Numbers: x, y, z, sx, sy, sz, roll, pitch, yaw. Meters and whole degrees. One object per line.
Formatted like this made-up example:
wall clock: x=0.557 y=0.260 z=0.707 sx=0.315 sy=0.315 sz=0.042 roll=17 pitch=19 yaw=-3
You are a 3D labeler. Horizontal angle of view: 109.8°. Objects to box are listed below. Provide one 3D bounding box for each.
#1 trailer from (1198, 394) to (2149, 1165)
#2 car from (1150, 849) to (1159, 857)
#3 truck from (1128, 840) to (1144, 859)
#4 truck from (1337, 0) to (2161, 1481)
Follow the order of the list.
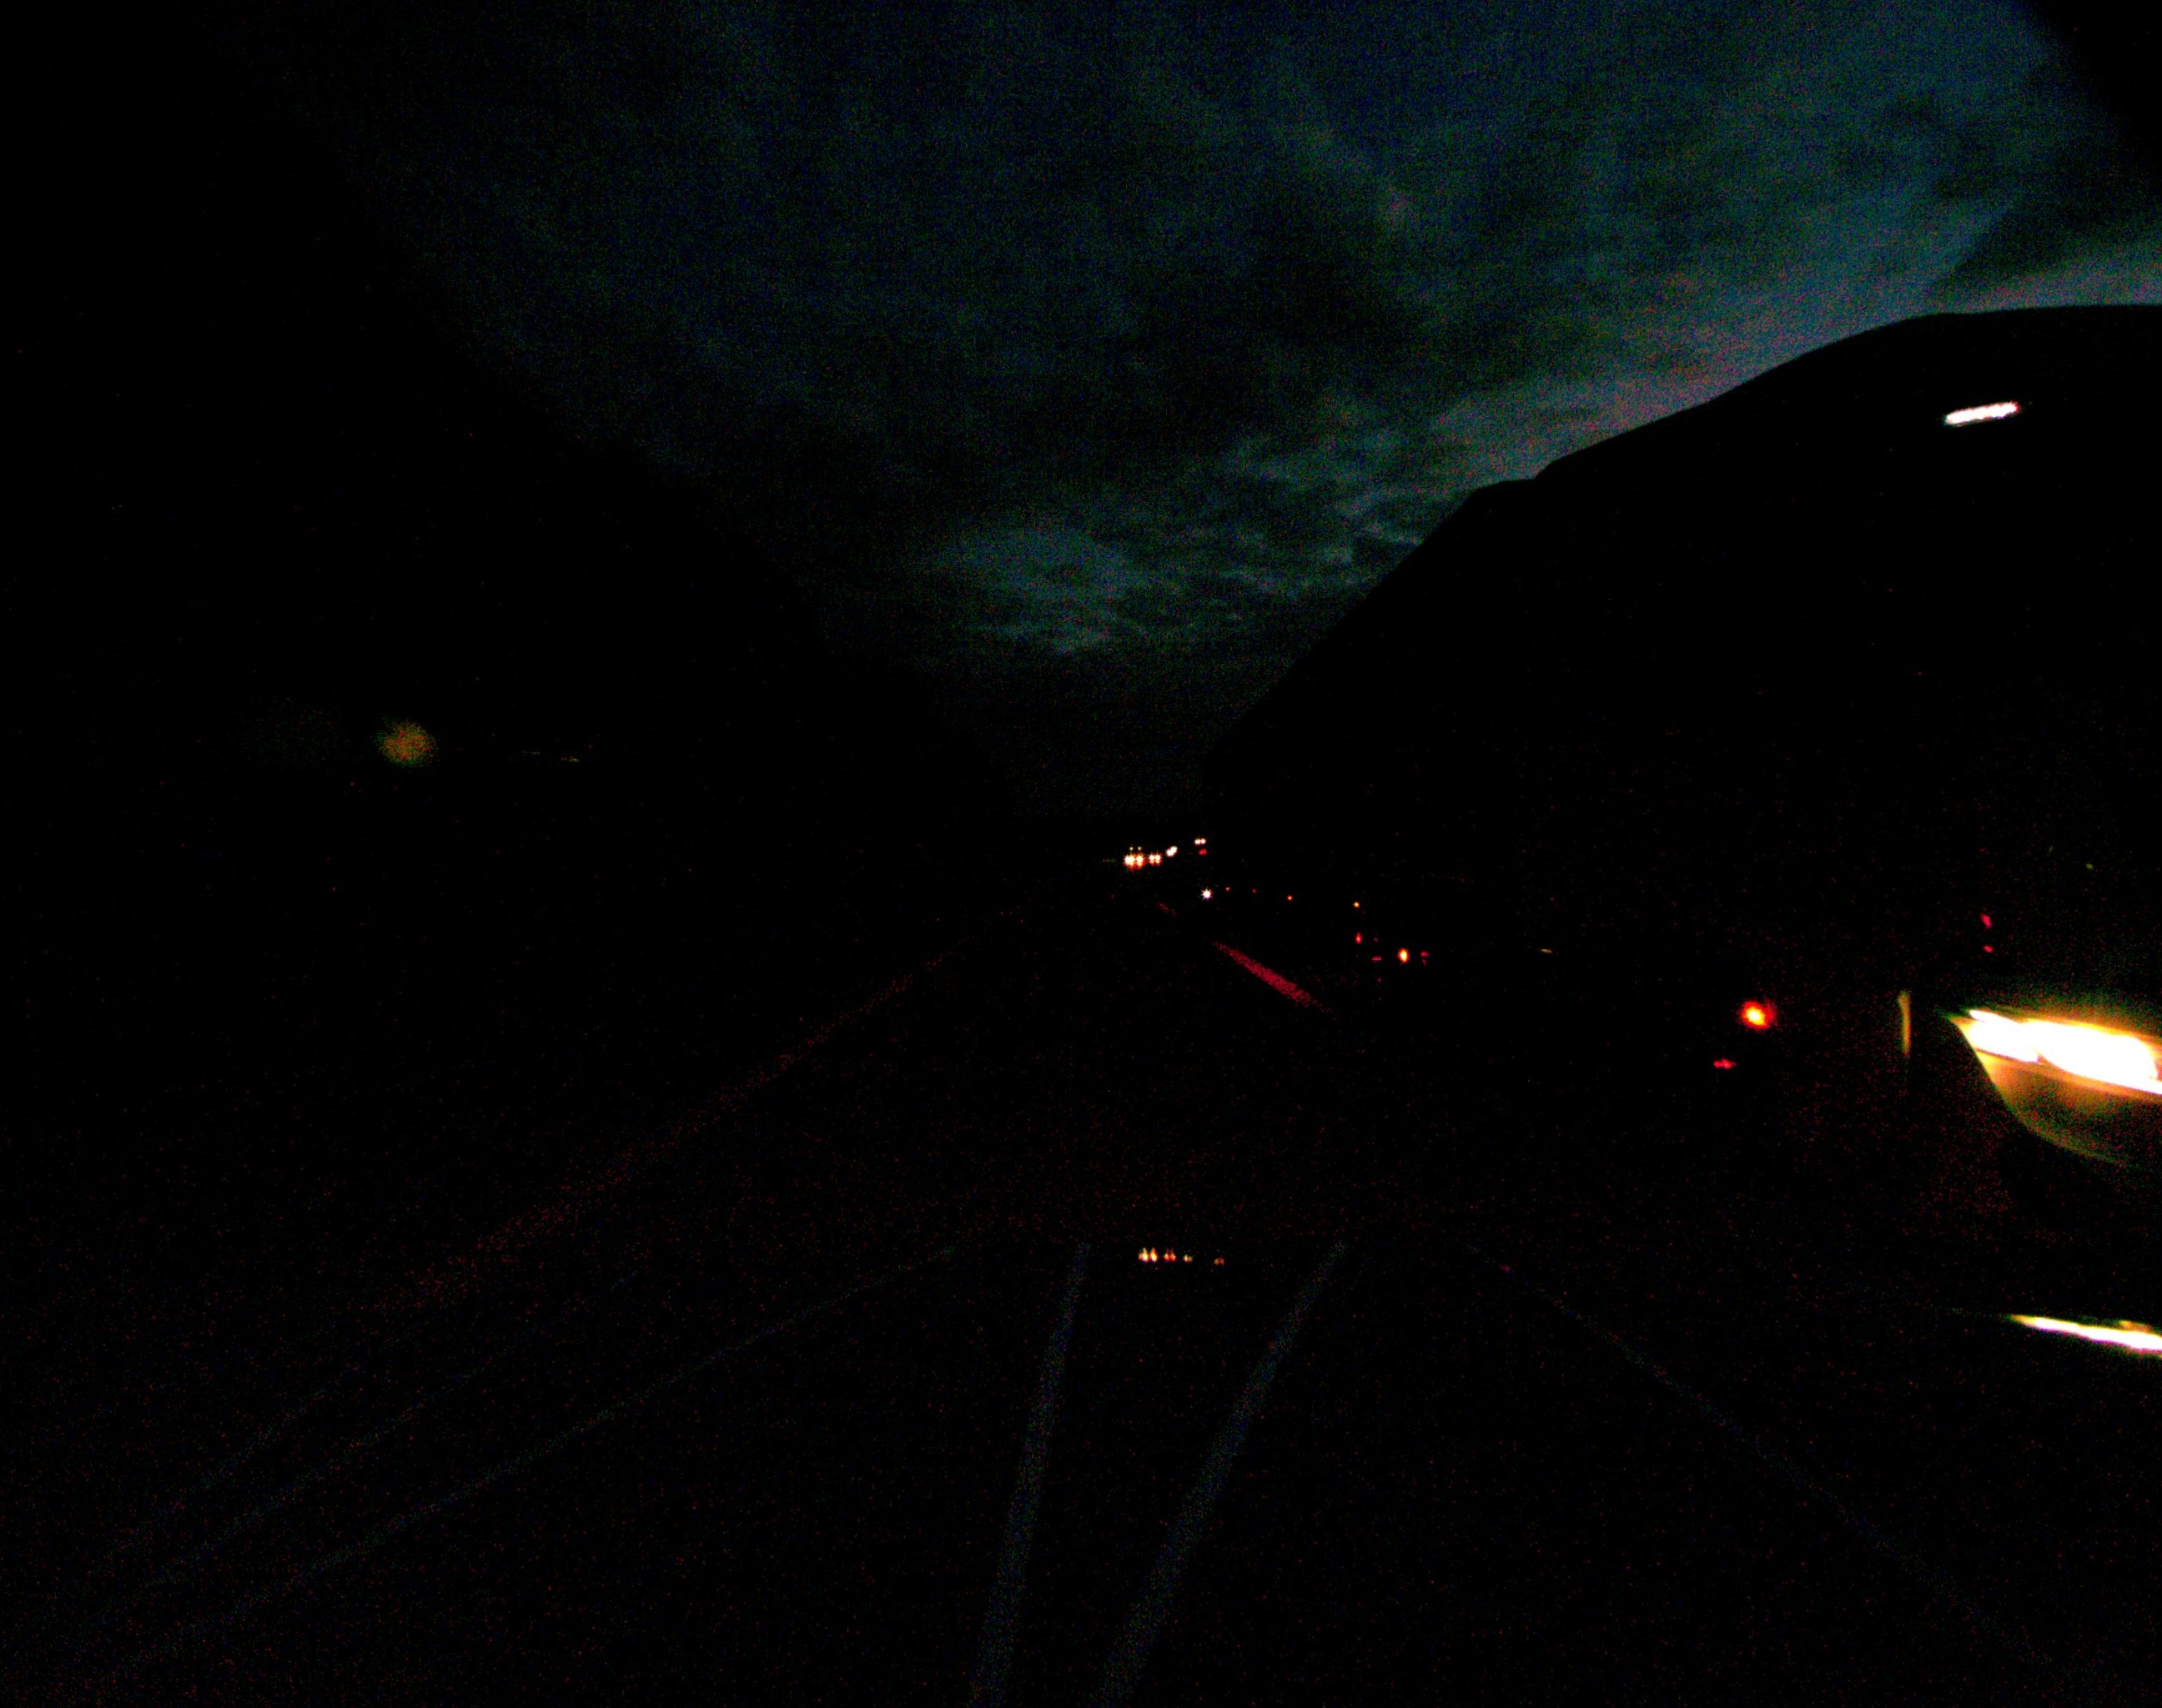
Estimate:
trailer: x=4.206 y=-0.380 z=11.330 sx=2.781 sy=3.892 sz=14.819 roll=-2 pitch=0 yaw=1
car: x=19.905 y=-0.365 z=206.087 sx=1.998 sy=2.002 sz=4.000 roll=-1 pitch=1 yaw=2
truck: x=13.115 y=-1.168 z=182.593 sx=3.352 sy=4.293 sz=11.326 roll=-1 pitch=0 yaw=3
truck: x=4.125 y=-0.379 z=4.990 sx=2.786 sy=3.879 sz=6.154 roll=-2 pitch=0 yaw=1
